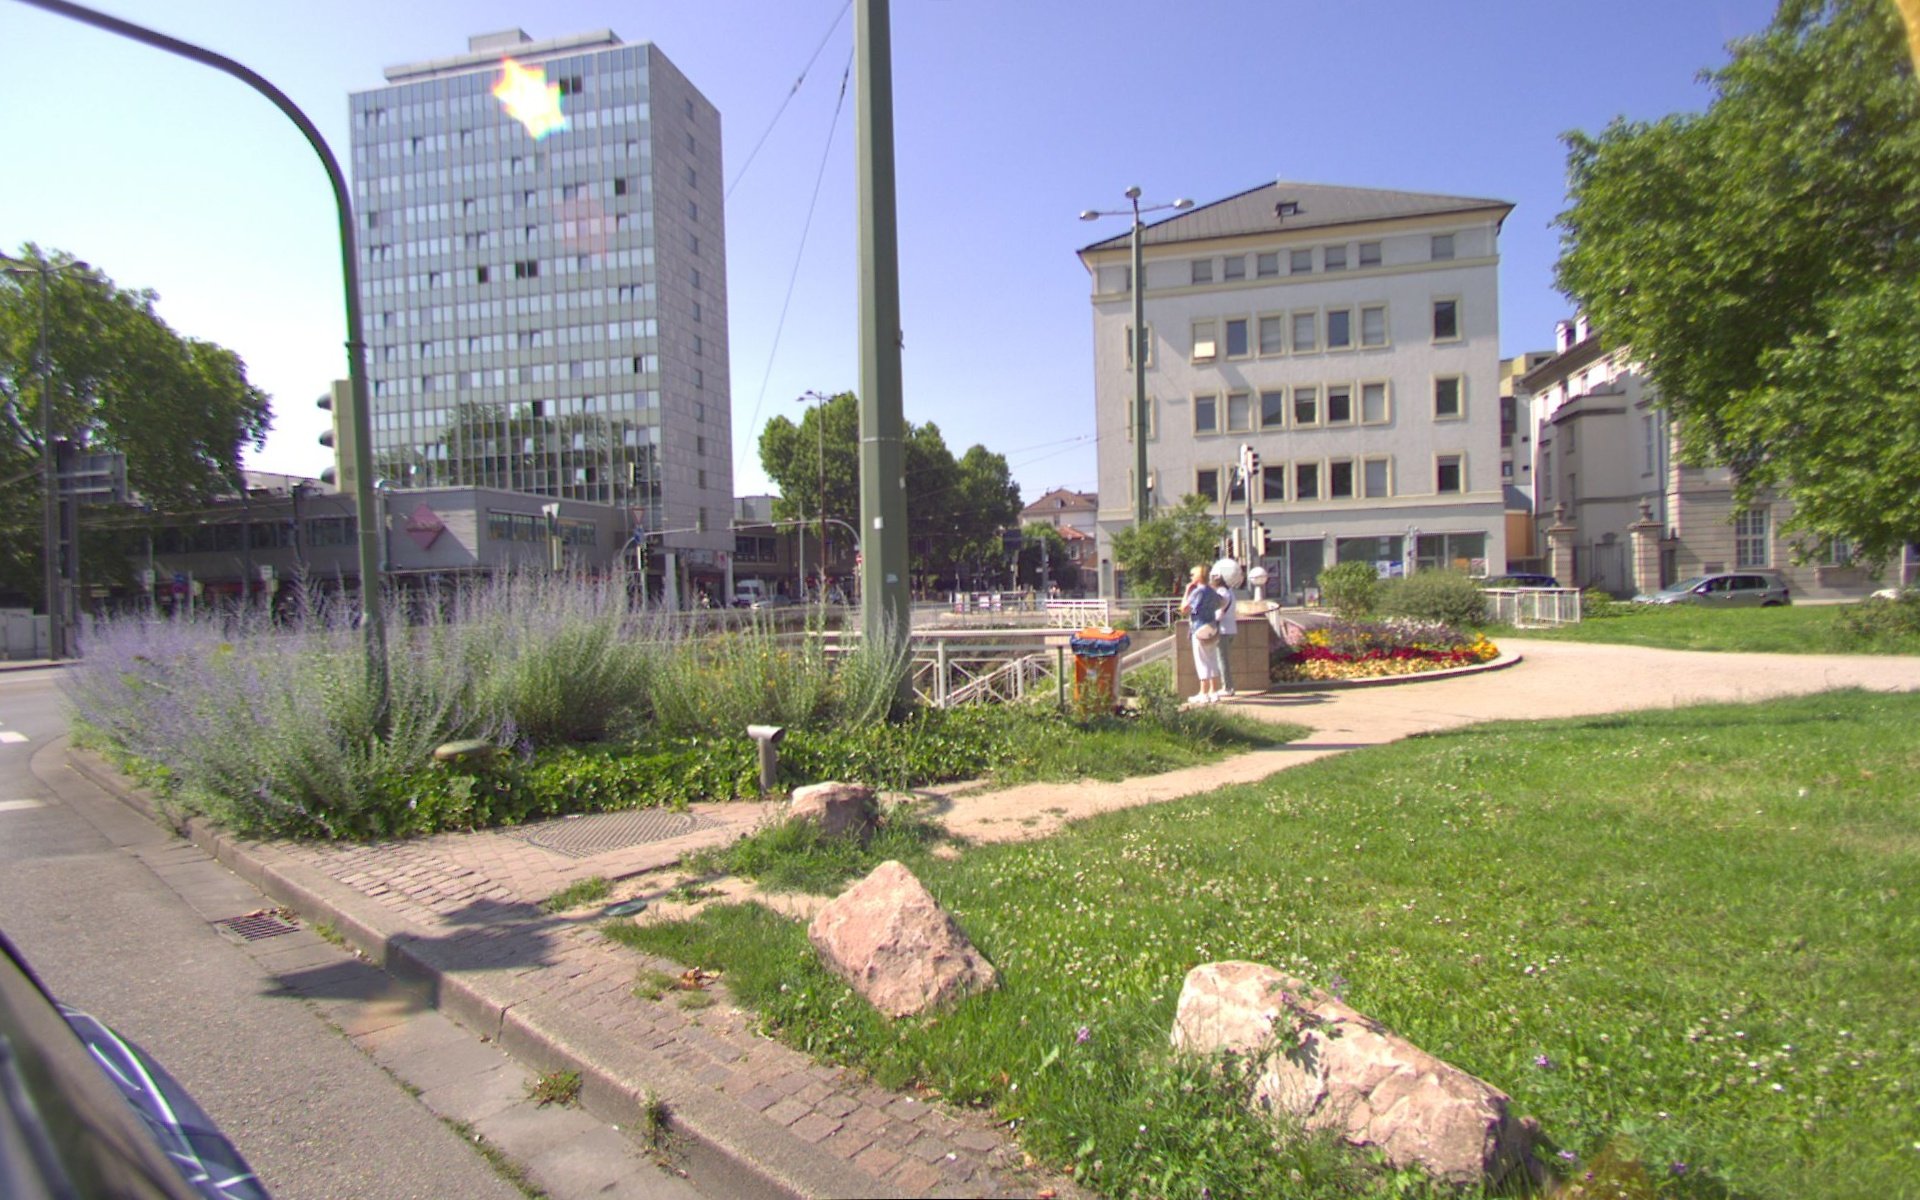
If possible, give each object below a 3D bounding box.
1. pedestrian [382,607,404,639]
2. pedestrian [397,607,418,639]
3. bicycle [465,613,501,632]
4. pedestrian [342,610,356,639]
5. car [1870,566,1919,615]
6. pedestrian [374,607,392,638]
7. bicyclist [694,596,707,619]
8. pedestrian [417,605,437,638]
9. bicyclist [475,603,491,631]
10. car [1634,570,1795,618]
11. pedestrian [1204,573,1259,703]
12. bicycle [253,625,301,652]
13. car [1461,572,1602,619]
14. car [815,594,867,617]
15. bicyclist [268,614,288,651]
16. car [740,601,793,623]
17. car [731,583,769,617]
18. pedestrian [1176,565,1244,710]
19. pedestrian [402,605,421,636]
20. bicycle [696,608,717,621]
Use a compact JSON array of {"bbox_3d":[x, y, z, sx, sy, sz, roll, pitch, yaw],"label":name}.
[{"bbox_3d":[-32.994,1.350,58.922,0.727,1.850,0.820,-1,0,12],"label":"pedestrian"},{"bbox_3d":[-31.943,1.330,58.505,0.664,1.850,0.820,-1,0,12],"label":"pedestrian"},{"bbox_3d":[-29.258,1.366,62.103,0.577,1.110,1.942,-2,1,42],"label":"bicycle"},{"bbox_3d":[-35.849,1.435,59.362,0.589,1.650,0.567,-1,0,-22],"label":"pedestrian"},{"bbox_3d":[29.369,-0.339,29.719,3.548,1.389,1.605,-2,1,13],"label":"car"},{"bbox_3d":[-34.533,1.323,60.523,0.810,1.820,0.672,-1,0,-40],"label":"pedestrian"},{"bbox_3d":[-20.083,0.590,78.290,0.694,1.781,0.677,0,1,29],"label":"bicyclist"},{"bbox_3d":[-31.128,1.247,59.121,0.664,1.850,0.821,-1,0,11],"label":"pedestrian"},{"bbox_3d":[-29.260,1.061,62.114,0.584,1.700,0.674,-2,0,43],"label":"bicyclist"},{"bbox_3d":[22.980,-0.187,30.948,3.548,1.278,1.605,-2,1,13],"label":"car"},{"bbox_3d":[3.322,0.440,12.346,0.472,1.521,0.844,-2,0,24],"label":"pedestrian"},{"bbox_3d":[-32.157,1.806,47.666,0.521,1.175,1.792,-1,0,39],"label":"bicycle"},{"bbox_3d":[18.147,-0.150,32.299,3.548,1.356,1.605,-2,1,13],"label":"car"},{"bbox_3d":[-8.621,0.366,73.802,1.872,1.545,4.044,-2,1,25],"label":"car"},{"bbox_3d":[-32.137,1.534,47.692,0.521,1.719,0.675,-1,0,39],"label":"bicyclist"},{"bbox_3d":[-14.889,0.896,78.100,1.872,1.471,4.129,-2,1,25],"label":"car"},{"bbox_3d":[-19.054,-0.060,91.976,1.728,2.938,4.622,-2,0,10],"label":"car"},{"bbox_3d":[2.892,0.418,11.690,0.596,1.605,0.687,-2,0,25],"label":"pedestrian"},{"bbox_3d":[-32.728,1.234,60.433,0.671,1.850,0.812,-1,0,43],"label":"pedestrian"},{"bbox_3d":[-19.084,1.088,76.328,0.589,0.889,1.797,0,1,23],"label":"bicycle"}]
